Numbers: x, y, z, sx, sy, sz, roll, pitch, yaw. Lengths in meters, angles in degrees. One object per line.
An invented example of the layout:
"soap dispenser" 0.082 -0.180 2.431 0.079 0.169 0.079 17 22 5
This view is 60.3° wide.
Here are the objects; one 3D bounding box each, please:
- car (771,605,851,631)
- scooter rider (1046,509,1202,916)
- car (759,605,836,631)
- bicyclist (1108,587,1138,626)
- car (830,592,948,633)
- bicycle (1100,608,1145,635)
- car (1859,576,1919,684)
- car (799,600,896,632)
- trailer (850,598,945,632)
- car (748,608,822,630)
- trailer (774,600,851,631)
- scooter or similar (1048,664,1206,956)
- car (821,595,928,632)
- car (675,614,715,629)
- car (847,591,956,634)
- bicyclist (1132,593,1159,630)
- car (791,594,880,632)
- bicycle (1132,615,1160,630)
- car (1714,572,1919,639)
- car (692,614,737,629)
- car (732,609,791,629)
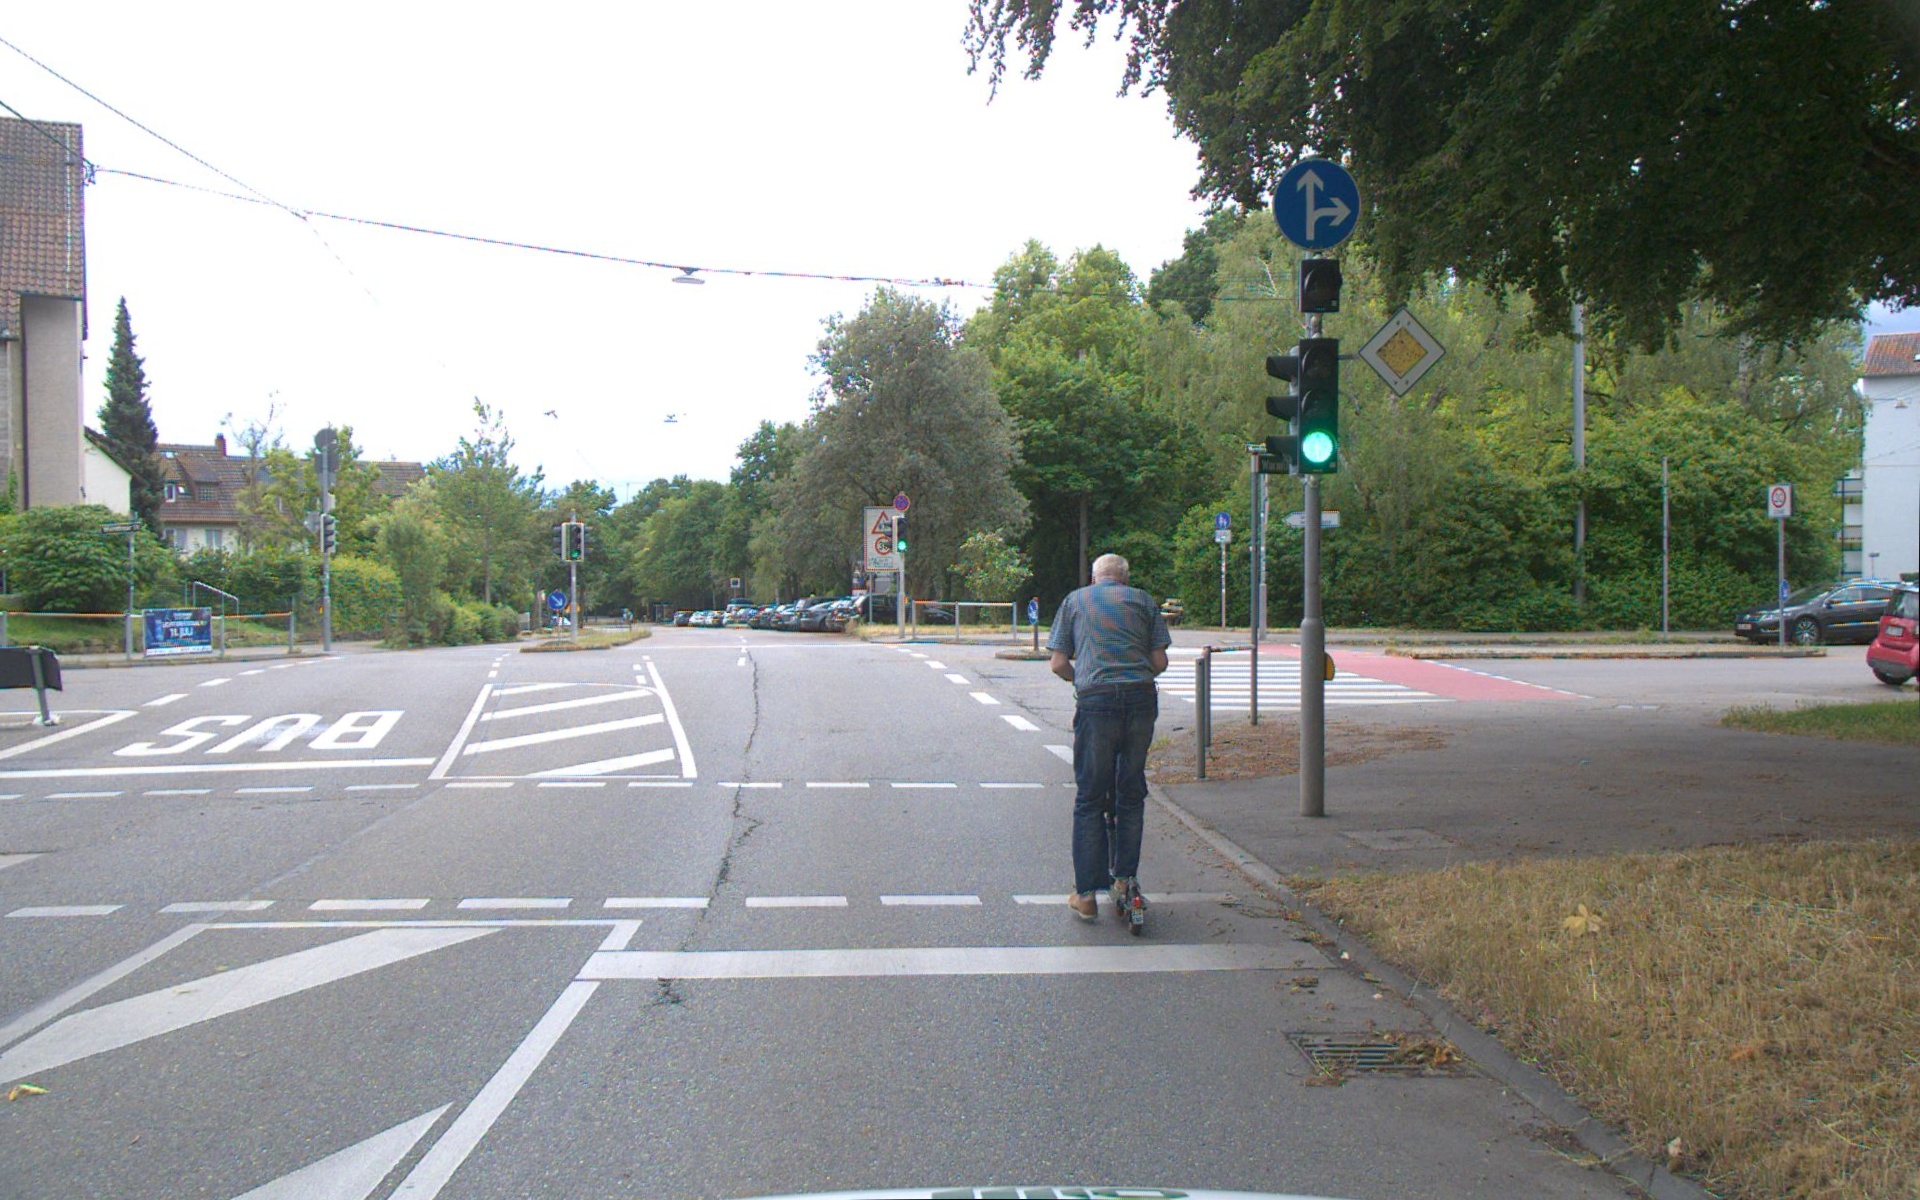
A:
"car" -7.921 0.947 87.818 3.978 1.351 1.550 0 -2 -21
"scooter rider" 0.743 0.474 7.768 0.667 1.760 1.197 0 1 3
"car" -9.606 1.048 97.949 4.291 1.471 1.620 0 -1 -26
"bicyclist" 5.243 0.205 53.231 0.629 1.182 0.800 2 3 39
"car" -2.623 0.457 61.248 4.078 1.502 1.565 0 -1 -22
"bicycle" 5.237 0.689 53.245 0.629 0.771 1.673 2 4 38
"car" 15.208 0.429 24.518 2.850 1.532 1.697 0 1 4
"car" -5.120 0.734 75.444 4.102 1.431 1.686 0 -1 -23
"trailer" -2.437 0.588 64.190 3.353 1.289 1.606 0 -2 -21
"car" -10.932 1.182 103.230 4.258 1.364 1.719 0 -1 -26
"trailer" -7.637 0.820 85.550 3.638 1.562 1.634 0 -1 -23
"scooter or similar" 0.753 0.926 7.800 0.667 1.159 1.460 0 1 3
"car" -3.566 0.565 68.941 4.158 1.490 1.625 0 -1 -21
"car" -28.067 2.276 175.239 3.846 1.454 1.725 0 -1 -32
"car" -2.091 0.438 58.708 3.653 1.502 1.570 0 0 -14
"bicyclist" 6.129 0.392 54.617 0.509 1.208 0.964 -2 -2 34
"car" -5.897 0.601 78.180 3.928 1.755 1.670 0 -1 -21
"bicycle" 6.141 0.743 54.591 0.509 0.506 0.985 -2 -2 34
"car" 20.142 0.098 38.115 4.693 1.464 2.036 0 1 -7
"car" -23.369 2.058 157.529 3.854 1.332 1.721 0 -1 -36
"car" -14.499 1.390 120.869 3.917 1.430 1.741 1 -1 -27
